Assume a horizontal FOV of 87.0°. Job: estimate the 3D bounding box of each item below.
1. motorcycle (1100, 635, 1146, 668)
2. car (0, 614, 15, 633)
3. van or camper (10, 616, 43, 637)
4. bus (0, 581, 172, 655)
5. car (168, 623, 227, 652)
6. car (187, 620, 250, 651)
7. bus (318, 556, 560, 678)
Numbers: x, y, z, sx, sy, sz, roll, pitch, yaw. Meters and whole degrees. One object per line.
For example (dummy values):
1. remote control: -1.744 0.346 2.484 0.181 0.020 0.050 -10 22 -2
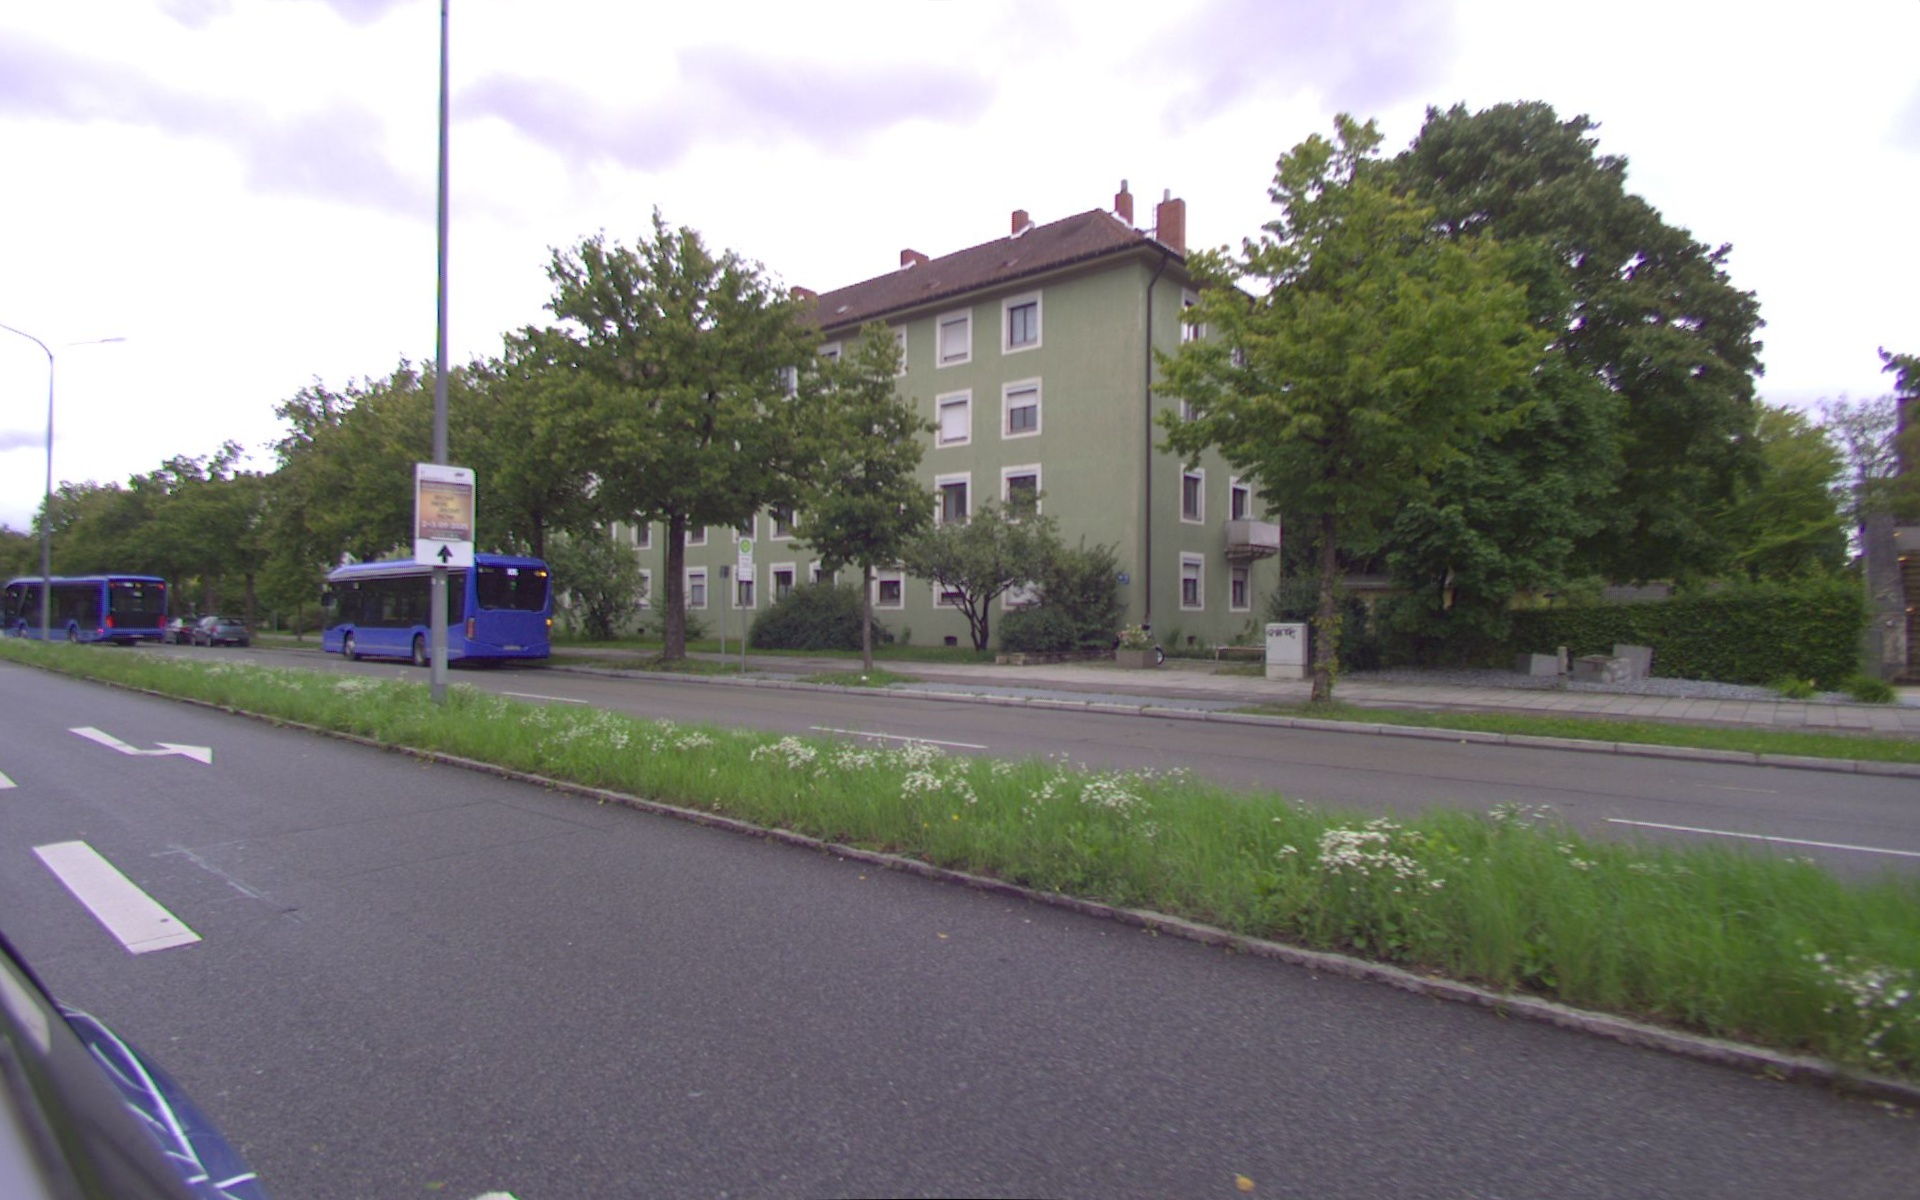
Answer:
1. motorcycle: 4.586 1.445 28.488 1.234 0.889 0.429 -1 -1 41
2. car: -102.496 2.481 108.026 3.998 2.029 1.973 -1 -1 41
3. van or camper: -91.870 2.608 99.585 3.998 2.029 1.973 -1 -1 41
4. bus: -43.531 0.890 50.069 12.224 3.369 2.726 0 -2 30
5. car: -40.958 1.988 54.325 3.909 1.473 1.832 -1 0 42
6. car: -37.522 1.781 51.161 3.909 1.473 1.832 -1 0 42
7. bus: -17.374 0.581 33.065 12.043 3.369 2.716 -1 -3 41
